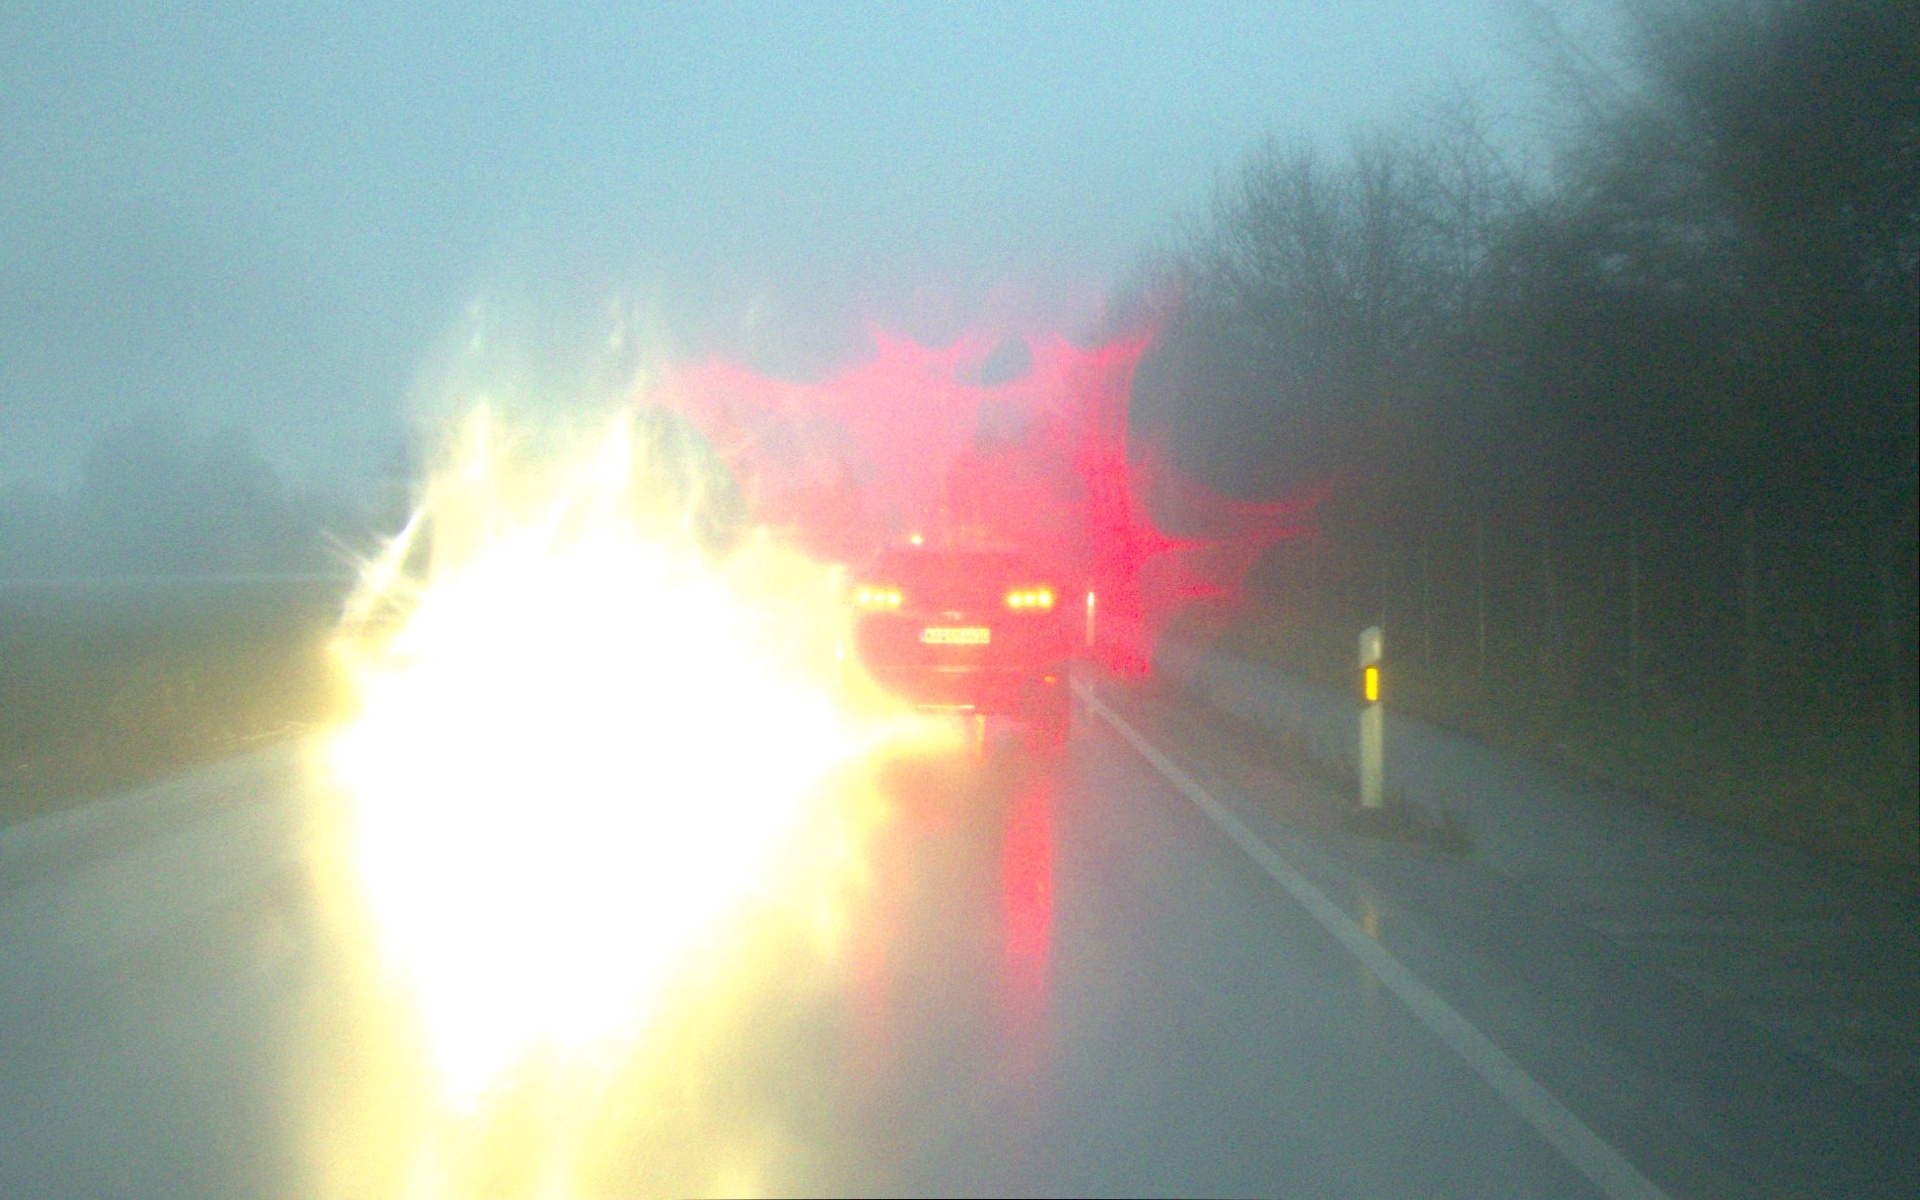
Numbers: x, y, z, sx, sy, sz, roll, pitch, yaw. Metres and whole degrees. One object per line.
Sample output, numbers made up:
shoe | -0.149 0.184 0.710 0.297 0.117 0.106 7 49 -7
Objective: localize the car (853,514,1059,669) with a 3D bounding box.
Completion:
car | -0.074 -0.184 49.870 2.756 2.028 6.591 -1 1 0

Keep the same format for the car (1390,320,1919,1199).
car | 1.861 0.588 4.986 1.928 1.744 4.000 0 1 -1

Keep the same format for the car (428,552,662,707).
car | -4.494 0.281 37.852 1.993 1.458 4.352 -5 1 -1

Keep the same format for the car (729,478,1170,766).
car | -0.096 0.091 28.428 3.164 2.028 6.852 -1 1 0
